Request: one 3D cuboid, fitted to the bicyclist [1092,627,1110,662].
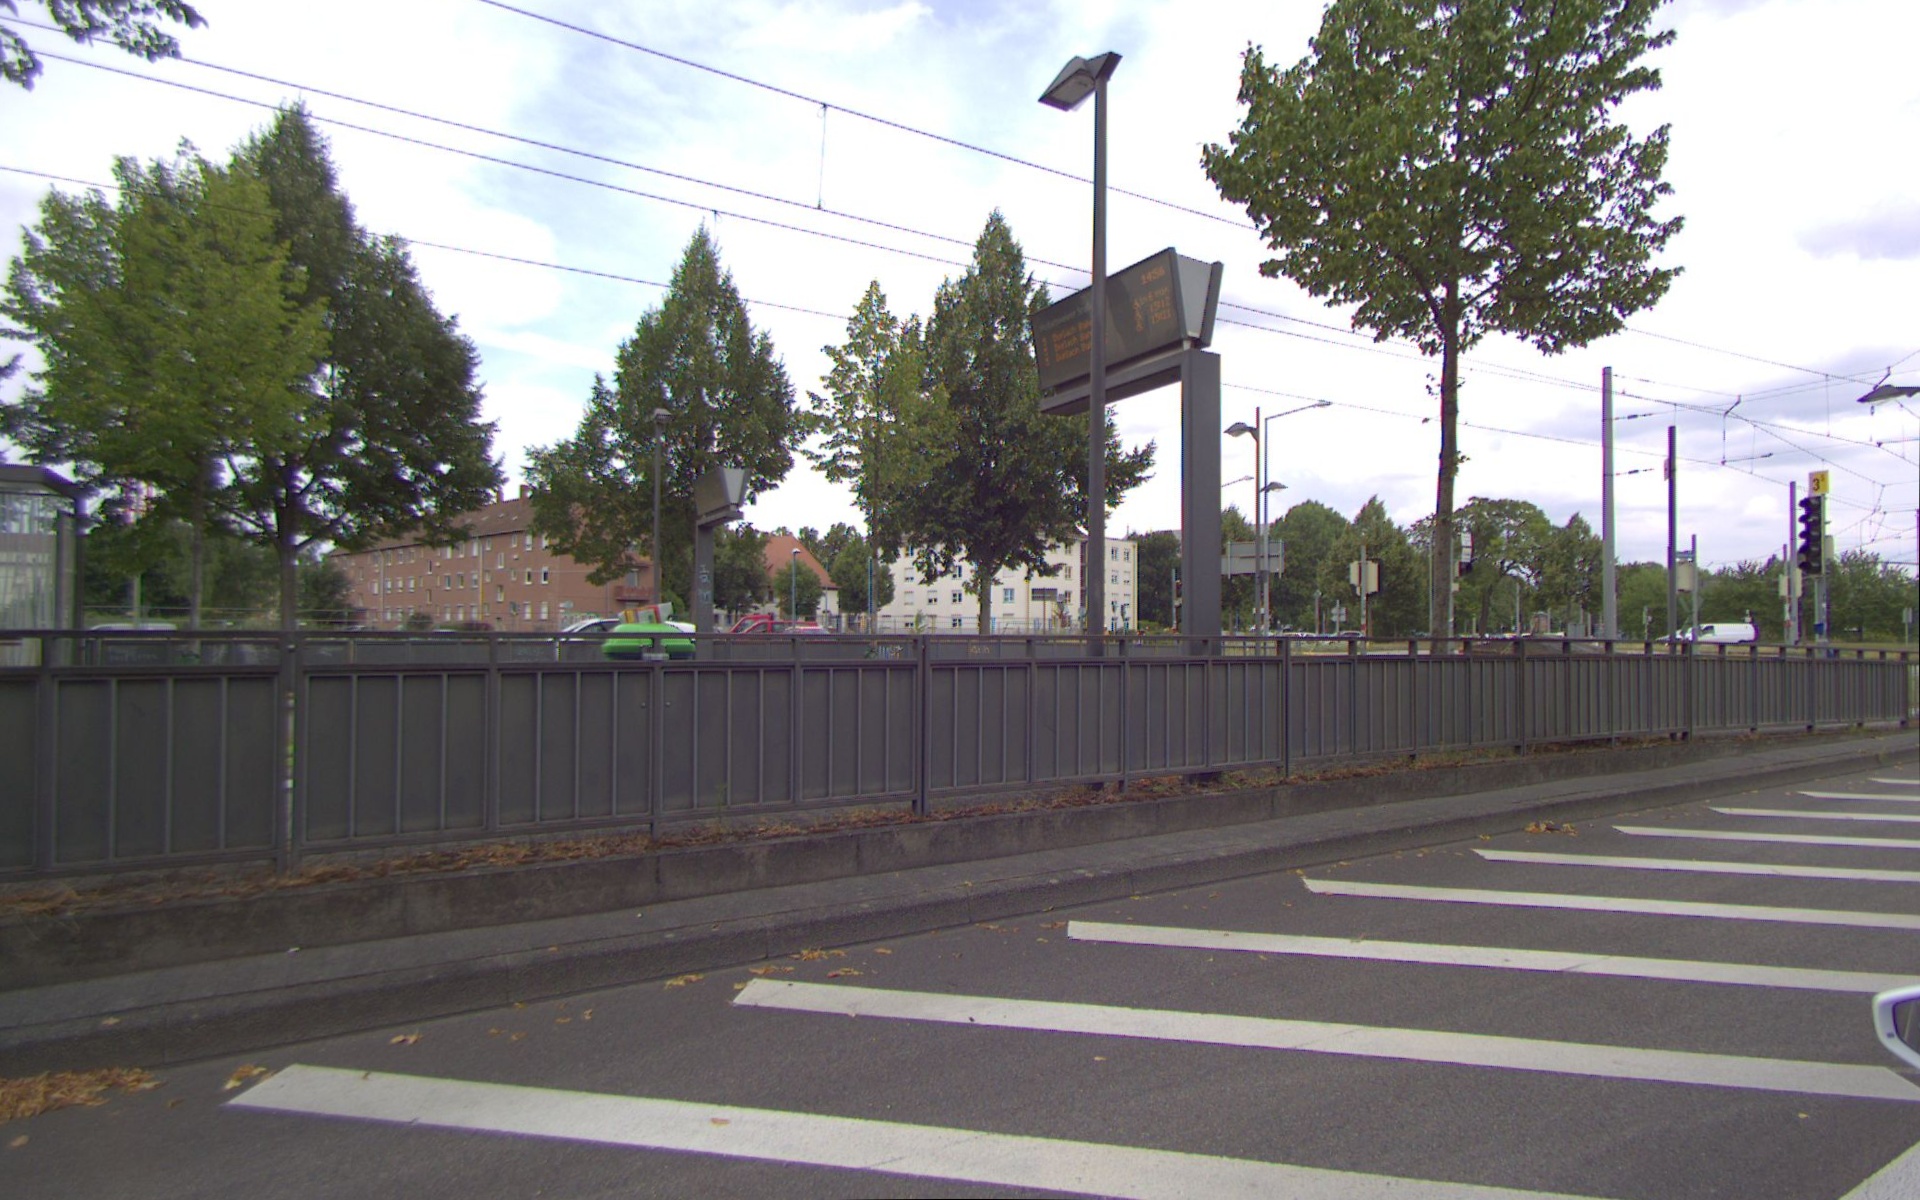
[{"bbox_3d":[7.686,2.416,54.899,0.815,1.859,0.783,0,-1,22],"label":"bicyclist"}]

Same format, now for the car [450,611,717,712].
[{"bbox_3d":[-6.844,1.060,18.332,4.332,1.639,1.985,1,-2,-30],"label":"car"}]

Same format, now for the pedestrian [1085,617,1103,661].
[{"bbox_3d":[5.726,1.658,42.919,0.636,1.874,0.491,0,-1,22],"label":"pedestrian"}]

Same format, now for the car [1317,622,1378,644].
[{"bbox_3d":[29.866,2.572,77.497,3.920,1.663,2.001,0,-1,1],"label":"car"}]

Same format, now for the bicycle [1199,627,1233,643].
[{"bbox_3d":[18.853,2.600,73.985,2.679,1.144,0.802,1,-1,-33],"label":"bicycle"}]

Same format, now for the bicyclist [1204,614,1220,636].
[{"bbox_3d":[18.537,1.818,73.834,0.742,1.583,0.883,1,-1,-33],"label":"bicyclist"}]

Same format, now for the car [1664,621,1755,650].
[{"bbox_3d":[54.188,2.543,72.673,4.898,2.040,2.001,0,-1,8],"label":"car"}]
